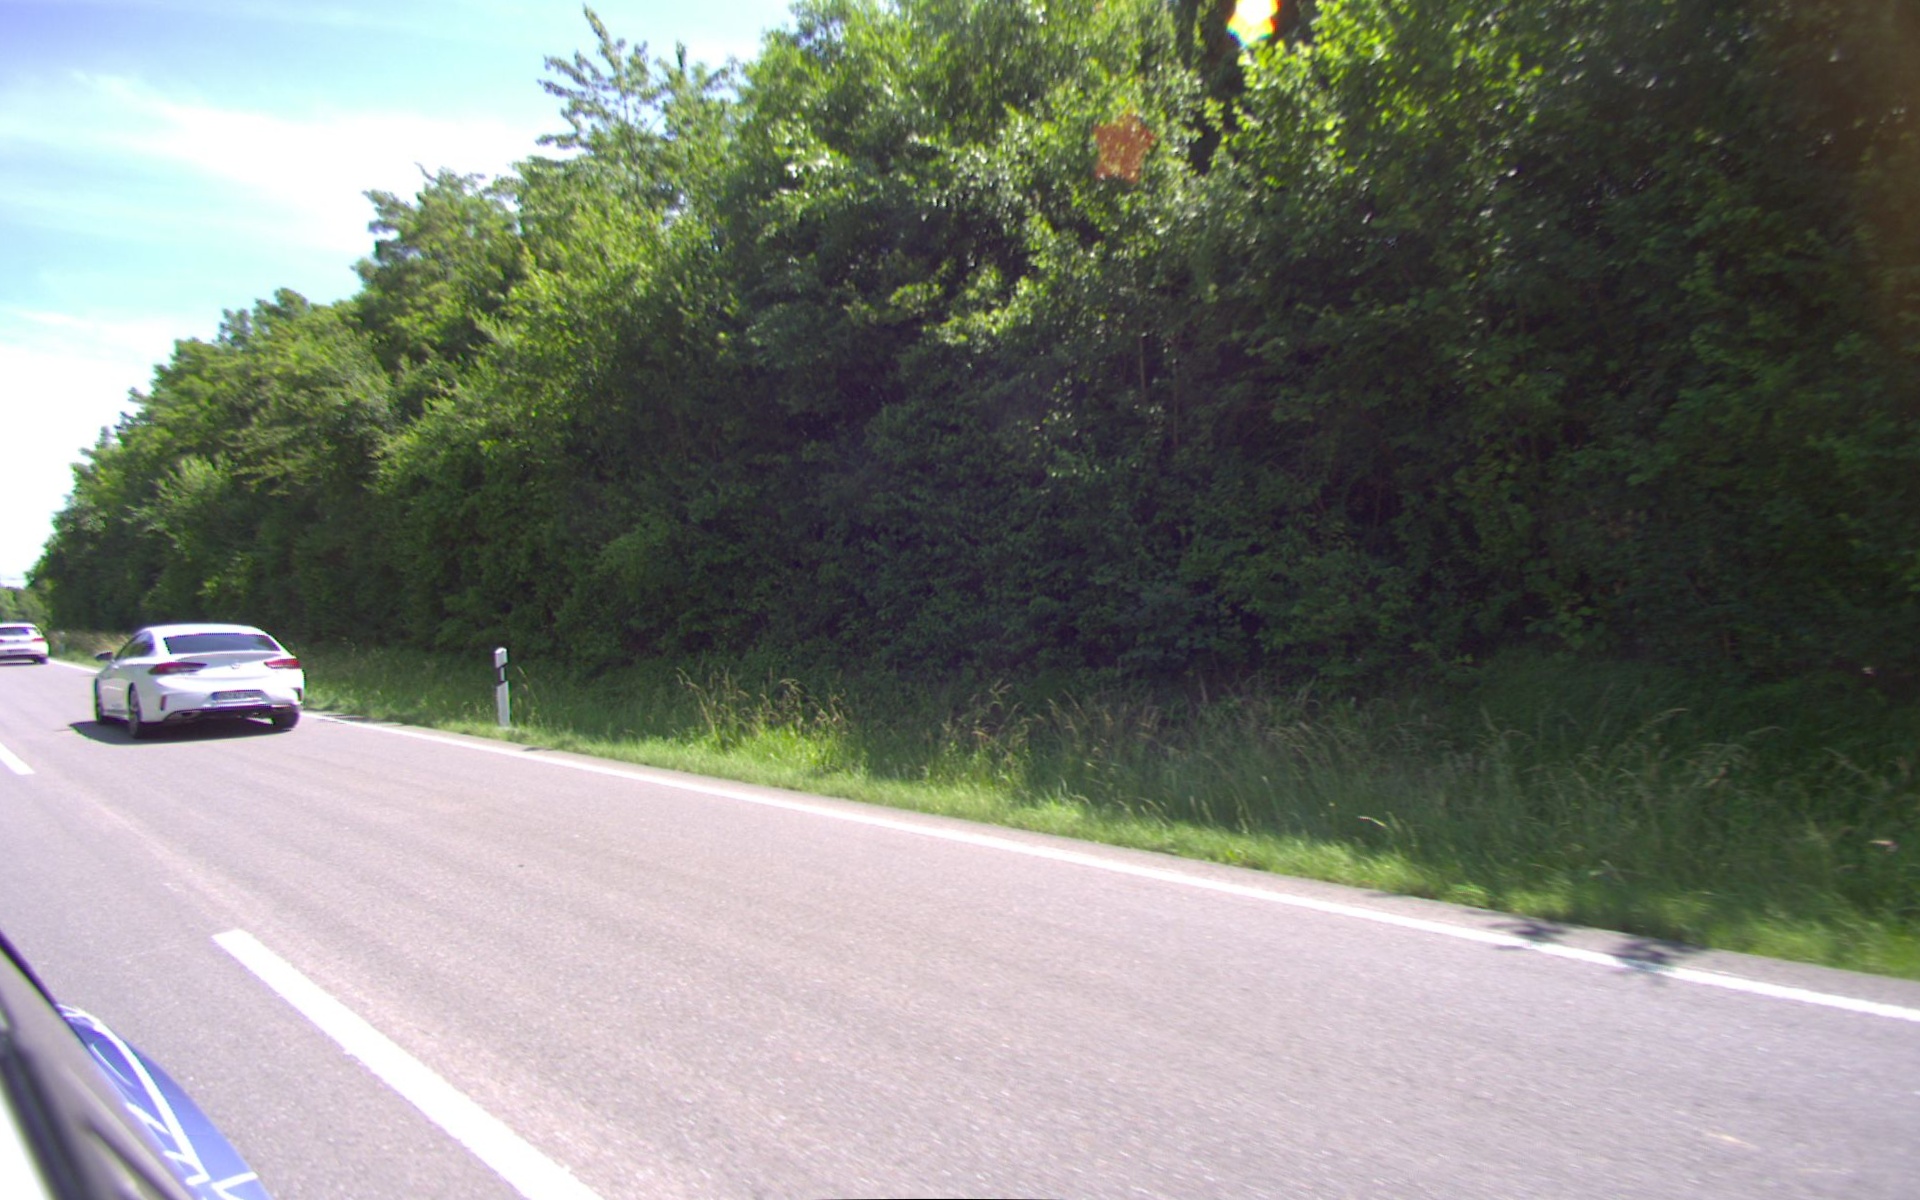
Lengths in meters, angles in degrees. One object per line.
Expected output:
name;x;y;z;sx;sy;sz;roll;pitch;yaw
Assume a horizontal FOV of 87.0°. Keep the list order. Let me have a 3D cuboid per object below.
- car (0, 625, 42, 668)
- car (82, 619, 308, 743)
car;-35.248;1.683;37.287;4.165;1.490;1.726;-1;-1;42
car;-10.955;1.029;14.352;4.757;1.472;1.660;-1;-1;42
